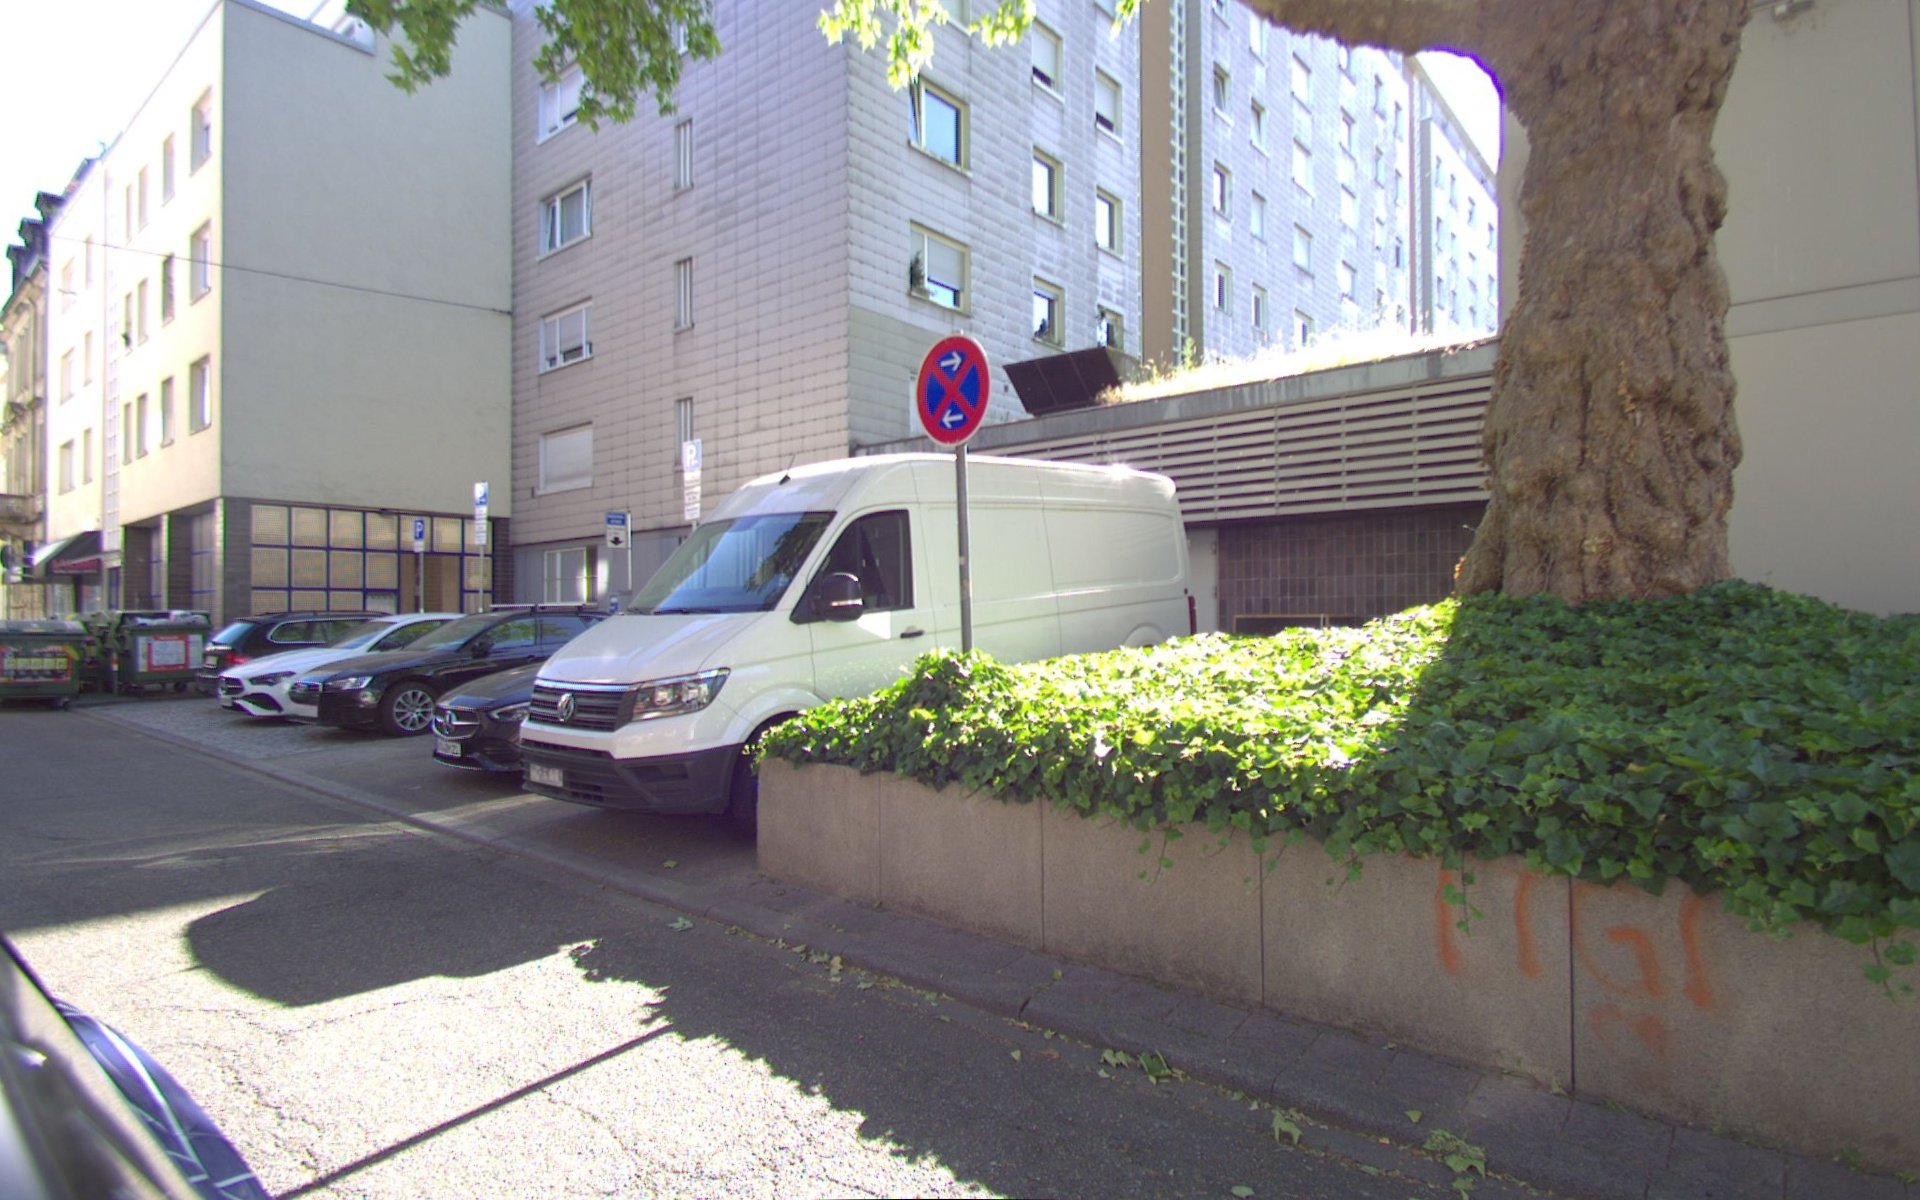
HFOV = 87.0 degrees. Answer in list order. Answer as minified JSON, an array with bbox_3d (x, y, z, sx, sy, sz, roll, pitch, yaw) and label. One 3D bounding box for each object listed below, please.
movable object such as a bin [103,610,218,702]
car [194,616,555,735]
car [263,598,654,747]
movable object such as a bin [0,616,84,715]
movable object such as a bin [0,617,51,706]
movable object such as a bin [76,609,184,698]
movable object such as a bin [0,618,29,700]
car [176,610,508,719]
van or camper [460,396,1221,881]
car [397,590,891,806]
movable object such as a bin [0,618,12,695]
[{"bbox_3d":[-13.766,0.932,17.443,1.193,1.512,1.312,-1,-2,38],"label":"movable object such as a bin"},{"bbox_3d":[-8.401,0.992,14.941,1.595,1.474,4.367,-2,-2,34],"label":"car"},{"bbox_3d":[-6.352,0.830,13.341,1.694,1.629,4.367,-1,-1,34],"label":"car"},{"bbox_3d":[-15.250,1.037,16.483,1.876,1.512,1.225,-2,-2,41],"label":"movable object such as a bin"},{"bbox_3d":[-17.081,1.069,17.866,1.923,1.512,1.231,-1,-2,38],"label":"movable object such as a bin"},{"bbox_3d":[-14.954,0.931,18.234,1.515,1.512,1.207,-1,-2,38],"label":"movable object such as a bin"},{"bbox_3d":[-18.489,1.102,19.025,1.558,1.512,1.207,-1,-2,38],"label":"movable object such as a bin"},{"bbox_3d":[-9.948,0.965,16.644,1.694,1.545,4.367,-2,-2,34],"label":"car"},{"bbox_3d":[-0.288,0.084,8.660,1.999,2.593,6.835,-2,1,41],"label":"van or camper"},{"bbox_3d":[-2.792,0.734,9.847,1.697,1.545,4.361,-2,1,39],"label":"car"},{"bbox_3d":[-19.726,1.118,20.008,1.558,1.512,1.207,-1,-2,38],"label":"movable object such as a bin"}]
